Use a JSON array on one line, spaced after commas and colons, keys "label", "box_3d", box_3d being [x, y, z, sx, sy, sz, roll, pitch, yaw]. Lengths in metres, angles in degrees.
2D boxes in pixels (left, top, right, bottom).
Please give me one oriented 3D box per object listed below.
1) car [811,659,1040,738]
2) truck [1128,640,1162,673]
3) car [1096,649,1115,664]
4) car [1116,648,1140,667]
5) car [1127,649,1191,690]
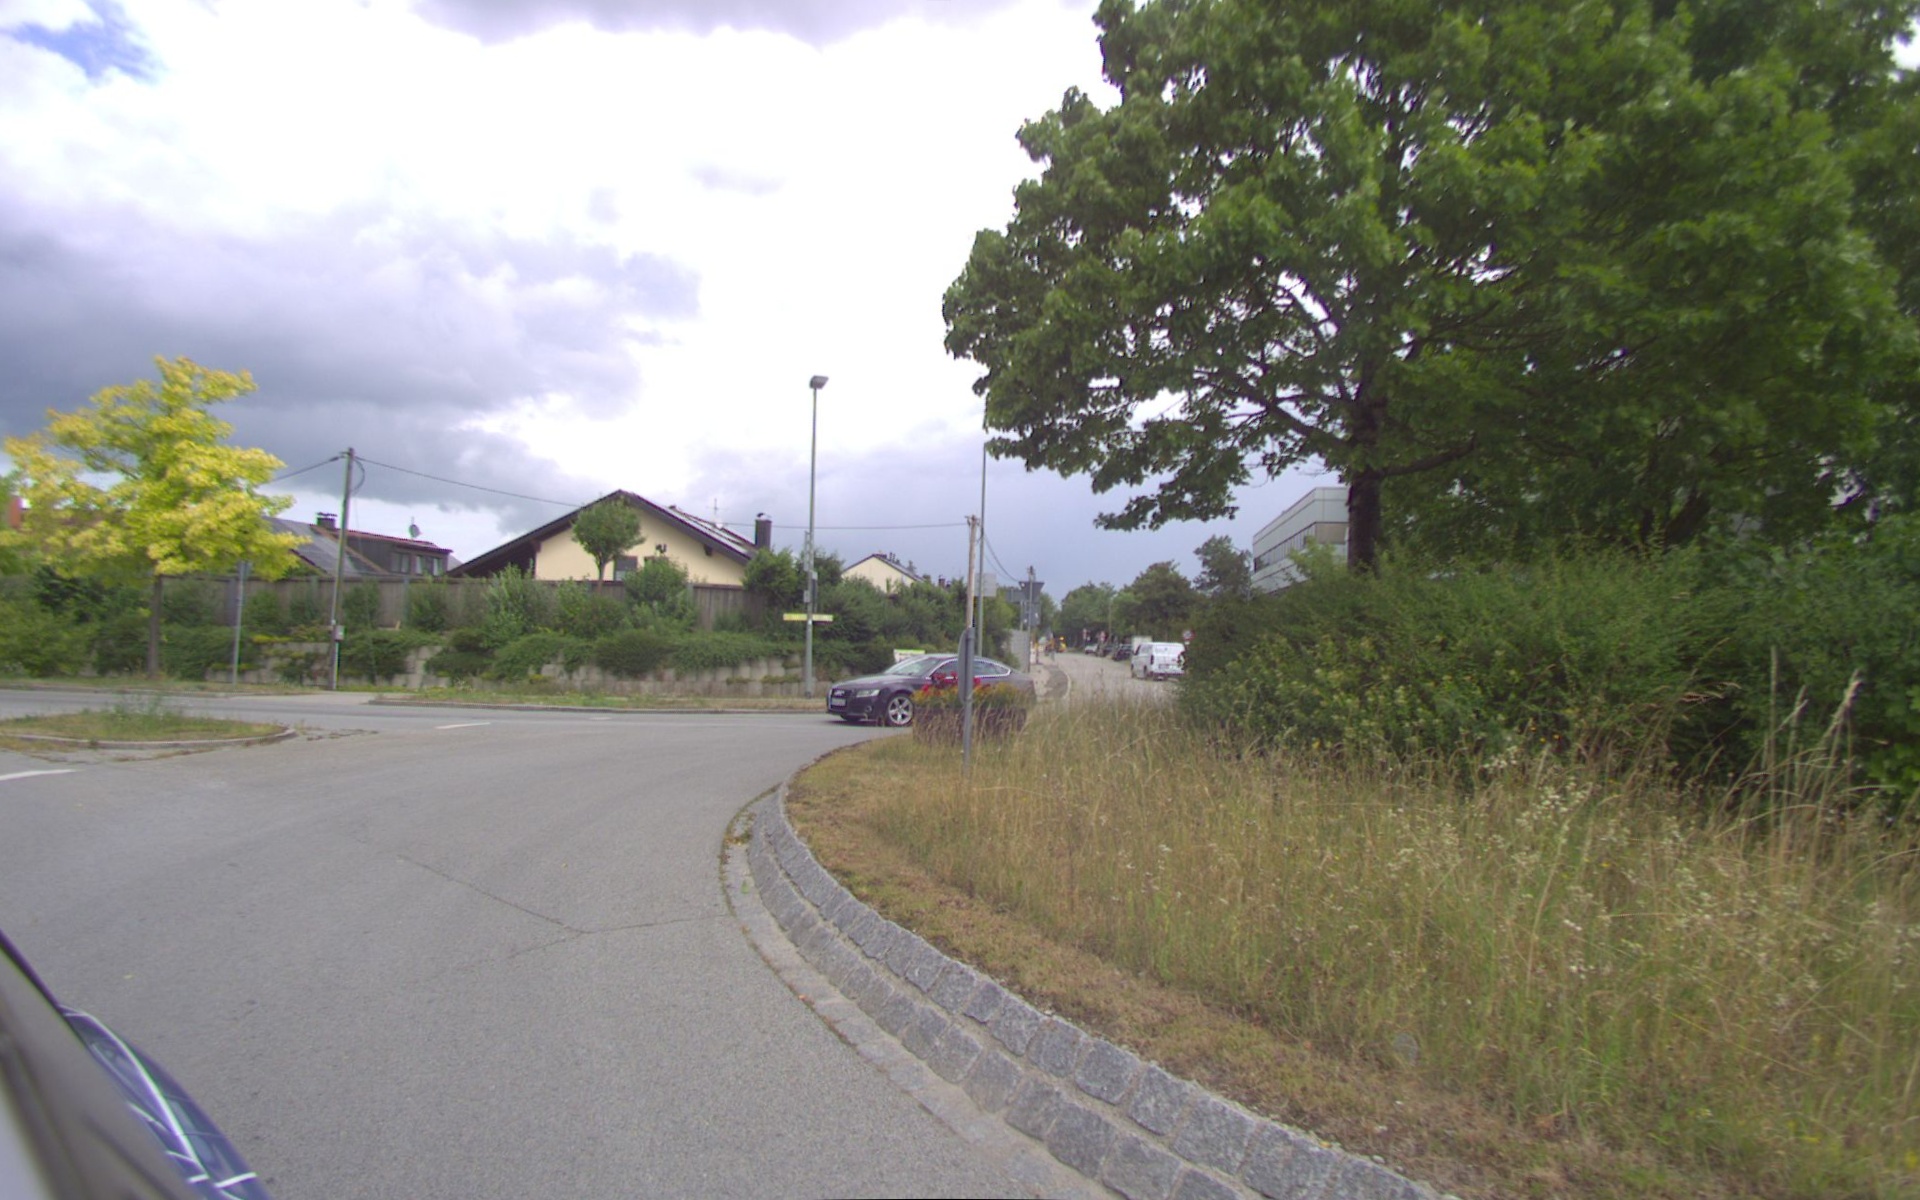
[{"label": "car", "box_3d": [-0.583, 1.925, 20.149, 4.404, 1.357, 1.937, 5, -5, -45]}, {"label": "truck", "box_3d": [14.934, 4.554, 81.772, 2.262, 2.518, 5.273, 1, -3, 6]}, {"label": "car", "box_3d": [16.374, 6.331, 113.882, 1.893, 1.663, 3.992, 1, -3, 7]}, {"label": "car", "box_3d": [15.692, 5.385, 94.733, 1.976, 1.663, 3.991, 2, -3, 7]}, {"label": "car", "box_3d": [10.182, 3.546, 52.165, 1.971, 1.920, 5.075, 2, -3, -3]}]
